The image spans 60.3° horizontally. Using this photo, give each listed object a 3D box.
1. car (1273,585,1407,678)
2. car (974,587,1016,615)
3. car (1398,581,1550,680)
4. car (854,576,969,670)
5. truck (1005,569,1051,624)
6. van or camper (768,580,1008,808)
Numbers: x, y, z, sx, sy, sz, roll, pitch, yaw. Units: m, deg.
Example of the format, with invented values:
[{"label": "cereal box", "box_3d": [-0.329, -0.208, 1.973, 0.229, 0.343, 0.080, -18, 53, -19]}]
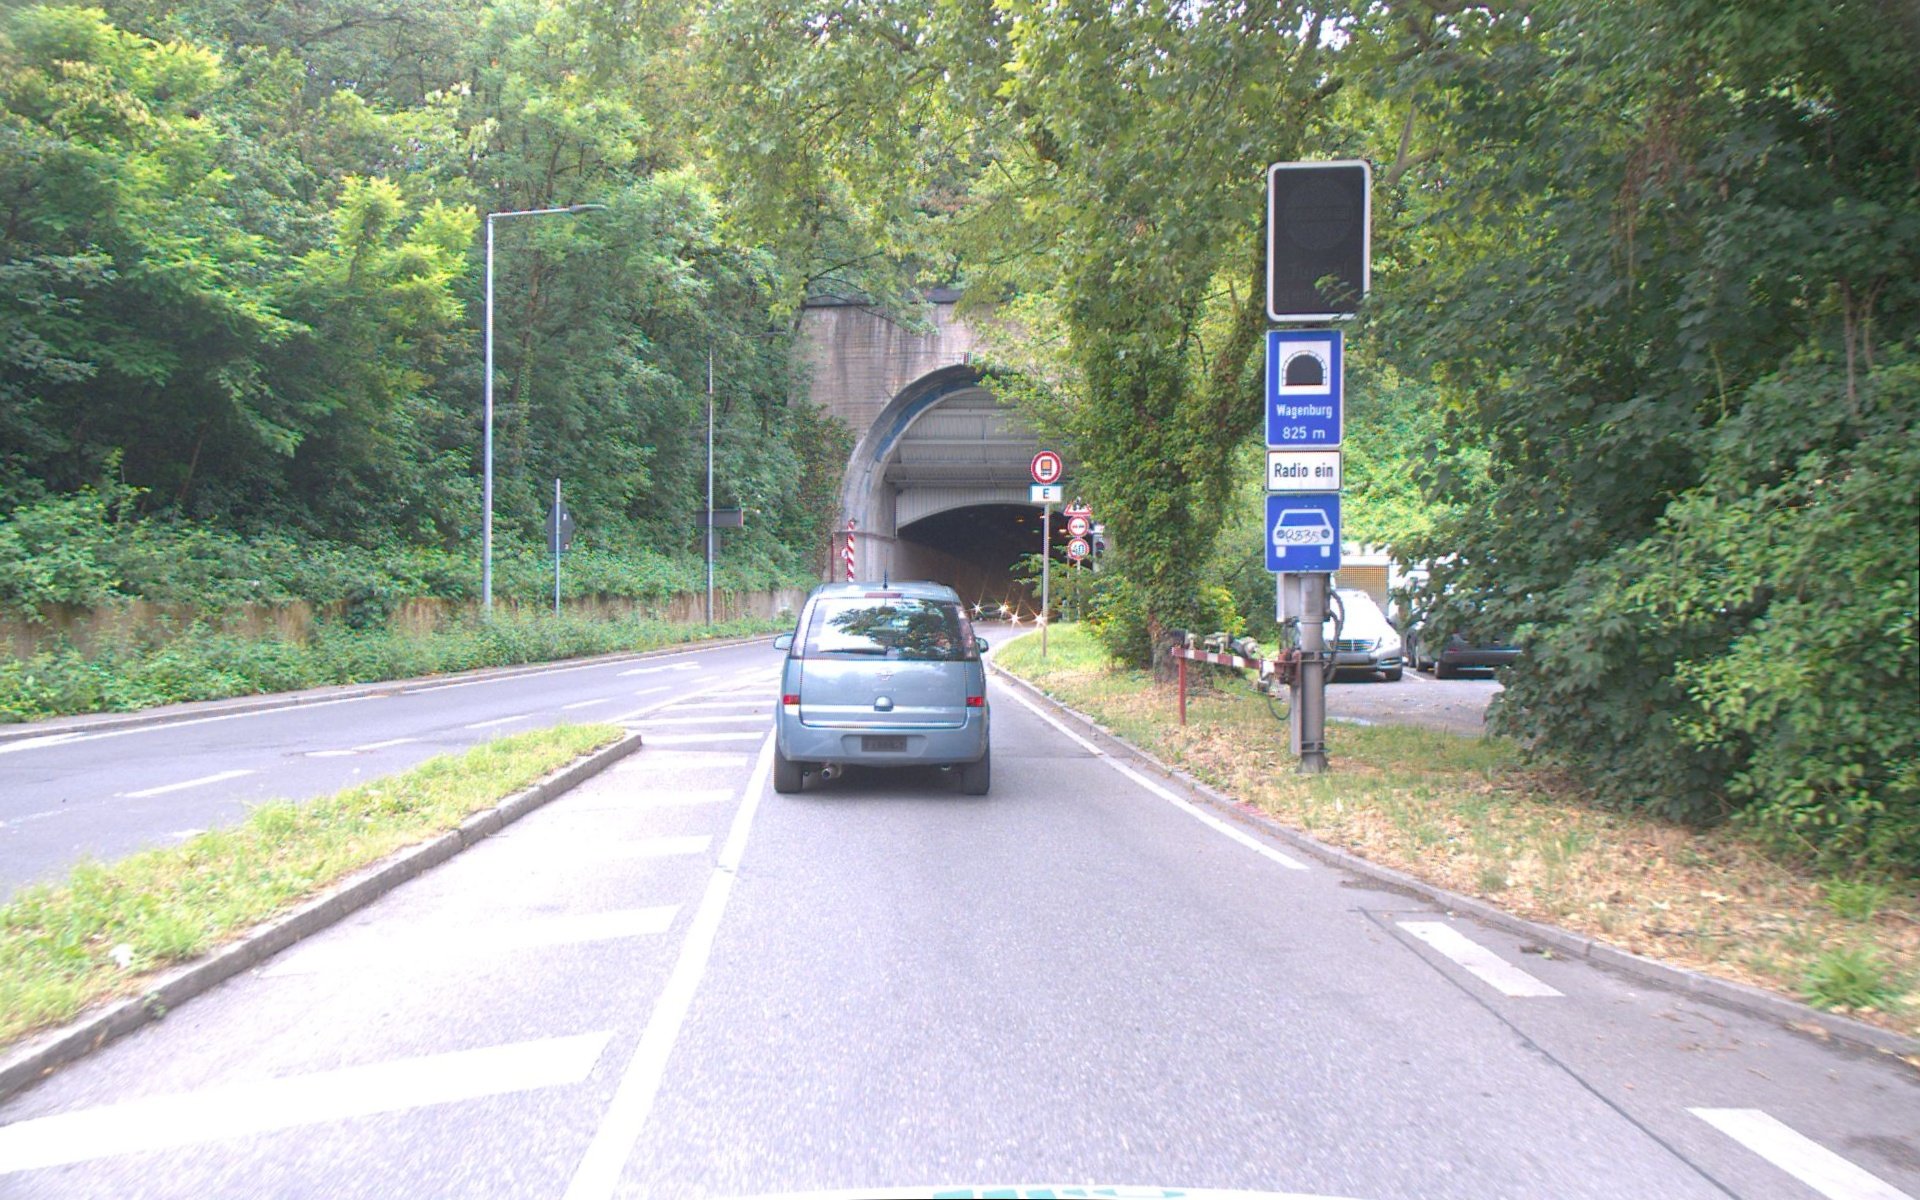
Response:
[{"label": "car", "box_3d": [6.786, 0.506, 30.019, 1.747, 1.467, 5.067, -1, 1, 6]}, {"label": "car", "box_3d": [1.980, 0.025, 91.988, 1.828, 1.395, 4.460, -1, 1, 8]}, {"label": "car", "box_3d": [9.188, 0.484, 29.918, 1.747, 1.585, 4.598, -1, 1, 6]}, {"label": "car", "box_3d": [-0.936, 0.425, 34.412, 1.951, 1.681, 4.004, -1, 3, 4]}, {"label": "truck", "box_3d": [4.799, -0.265, 115.005, 2.619, 3.731, 7.523, 1, 0, 7]}, {"label": "van or camper", "box_3d": [-0.620, 0.661, 13.740, 1.701, 1.605, 3.644, 1, 1, -3]}]
